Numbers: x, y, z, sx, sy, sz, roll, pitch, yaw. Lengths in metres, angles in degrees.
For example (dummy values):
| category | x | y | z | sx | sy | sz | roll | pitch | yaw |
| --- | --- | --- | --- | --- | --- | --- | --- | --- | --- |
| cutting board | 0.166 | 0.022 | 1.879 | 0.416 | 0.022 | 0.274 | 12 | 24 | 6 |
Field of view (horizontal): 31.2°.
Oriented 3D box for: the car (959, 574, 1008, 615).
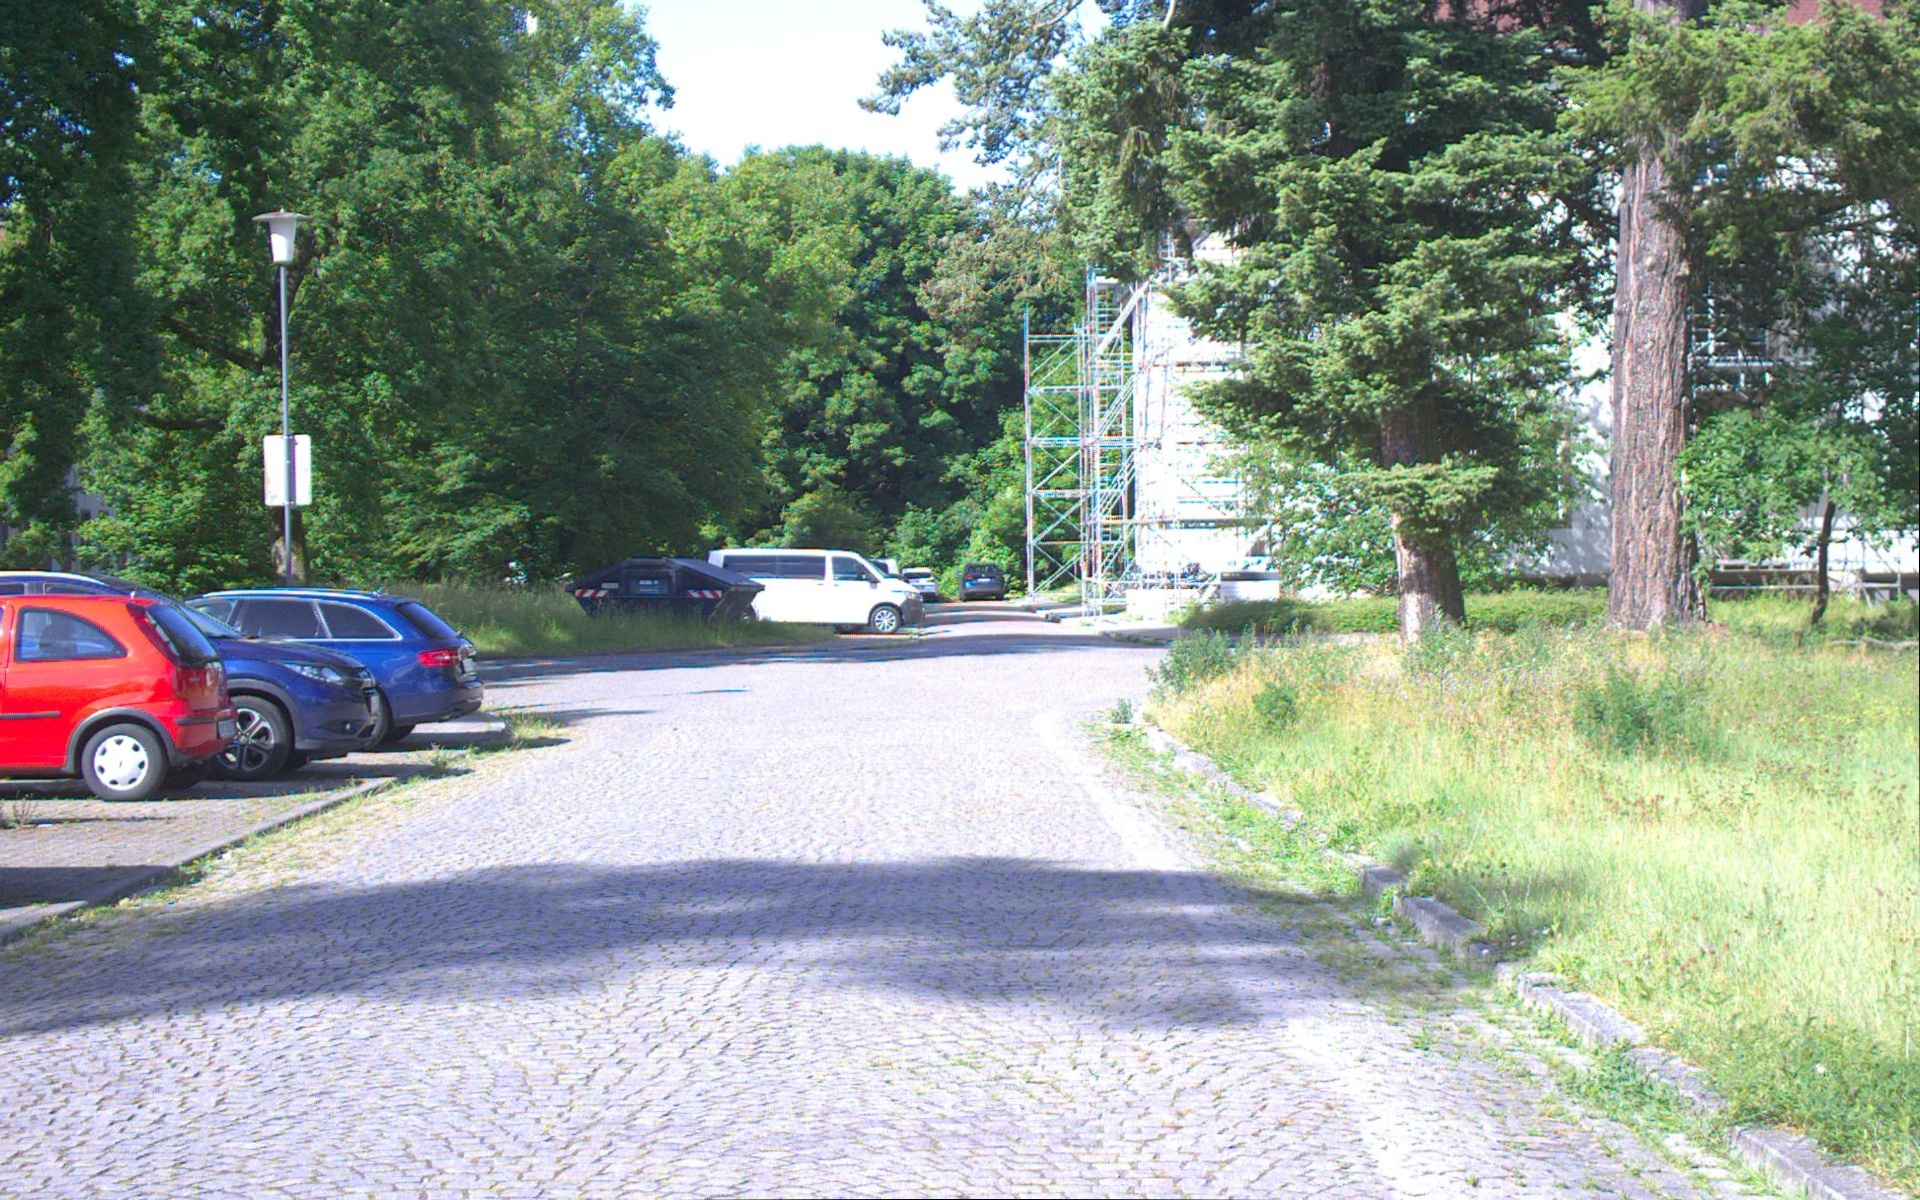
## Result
| category | x | y | z | sx | sy | sz | roll | pitch | yaw |
| --- | --- | --- | --- | --- | --- | --- | --- | --- | --- |
| car | 0.980 | -0.239 | 146.688 | 1.971 | 1.662 | 4.086 | -1 | 0 | -1 |

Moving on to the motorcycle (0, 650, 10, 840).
| category | x | y | z | sx | sy | sz | roll | pitch | yaw |
| --- | --- | --- | --- | --- | --- | --- | --- | --- | --- |
| motorcycle | -6.999 | 0.891 | 20.979 | 2.242 | 1.158 | 0.577 | 0 | 0 | 1 |

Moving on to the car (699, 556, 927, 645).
| category | x | y | z | sx | sy | sz | roll | pitch | yaw |
| --- | --- | --- | --- | --- | --- | --- | --- | --- | --- |
| car | -3.407 | -0.003 | 80.351 | 5.234 | 2.009 | 1.950 | -1 | 0 | -1 |

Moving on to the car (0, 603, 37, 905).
| category | x | y | z | sx | sy | sz | roll | pitch | yaw |
| --- | --- | --- | --- | --- | --- | --- | --- | --- | --- |
| car | -6.619 | 0.748 | 16.486 | 3.923 | 1.456 | 1.842 | 0 | 1 | -2 |

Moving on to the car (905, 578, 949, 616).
| category | x | y | z | sx | sy | sz | roll | pitch | yaw |
| --- | --- | --- | --- | --- | --- | --- | --- | --- | --- |
| car | -1.420 | -0.142 | 146.376 | 1.812 | 1.574 | 4.135 | -1 | 0 | -1 |

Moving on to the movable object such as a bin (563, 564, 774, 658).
| category | x | y | z | sx | sy | sz | roll | pitch | yaw |
| --- | --- | --- | --- | --- | --- | --- | --- | --- | --- |
| movable object such as a bin | -5.693 | 0.209 | 67.242 | 3.568 | 1.739 | 2.023 | -1 | 0 | 18 |

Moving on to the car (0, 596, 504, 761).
| category | x | y | z | sx | sy | sz | roll | pitch | yaw |
| --- | --- | --- | --- | --- | --- | --- | --- | --- | --- |
| car | -6.502 | 0.694 | 31.453 | 4.360 | 1.440 | 1.921 | 0 | 1 | 2 |

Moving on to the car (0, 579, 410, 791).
| category | x | y | z | sx | sy | sz | roll | pitch | yaw |
| --- | --- | --- | --- | --- | --- | --- | --- | --- | --- |
| car | -6.493 | 0.633 | 26.770 | 4.135 | 1.574 | 1.884 | 0 | 1 | 0 |

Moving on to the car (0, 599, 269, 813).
| category | x | y | z | sx | sy | sz | roll | pitch | yaw |
| --- | --- | --- | --- | --- | --- | --- | --- | --- | --- |
| car | -7.058 | 0.725 | 24.390 | 3.923 | 1.428 | 1.842 | 0 | 1 | 1 |
